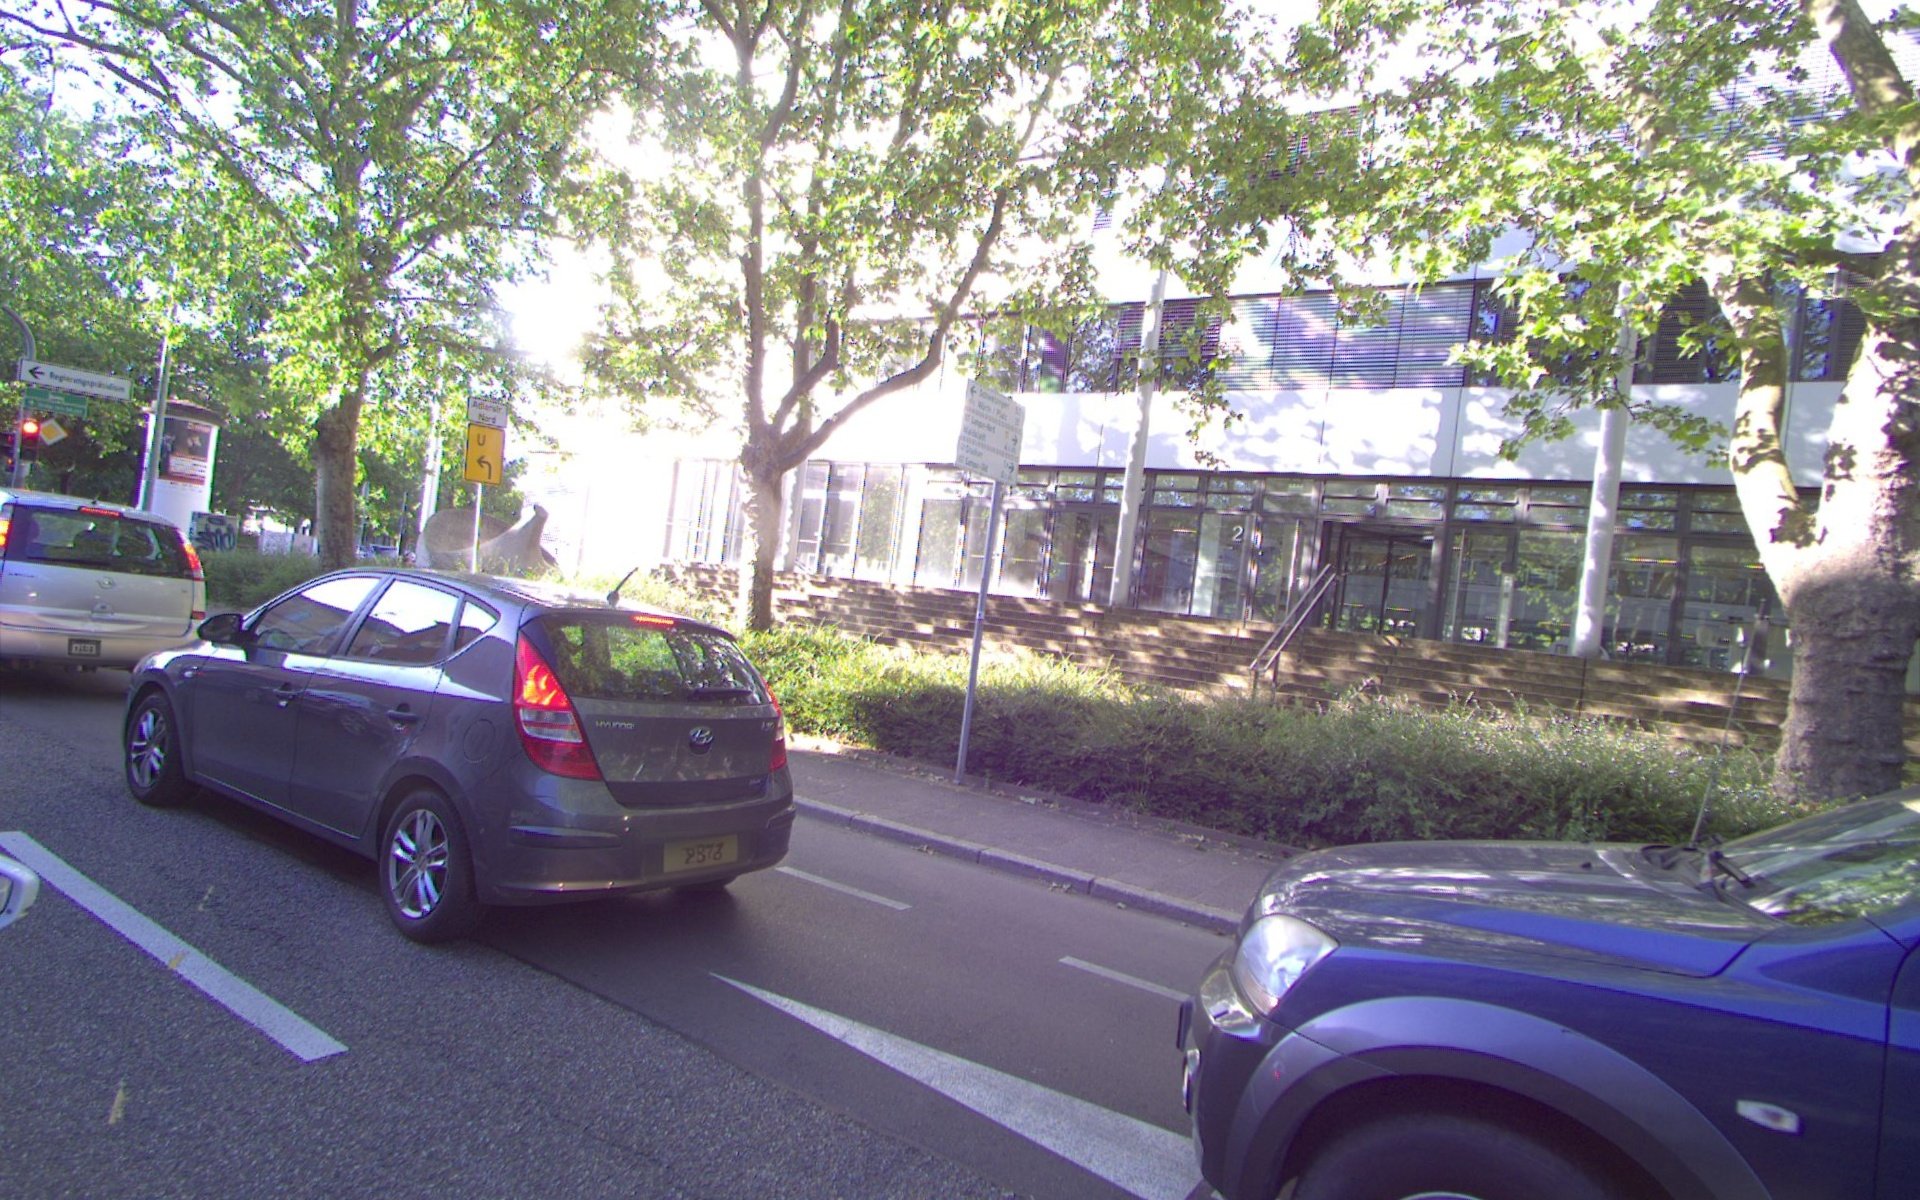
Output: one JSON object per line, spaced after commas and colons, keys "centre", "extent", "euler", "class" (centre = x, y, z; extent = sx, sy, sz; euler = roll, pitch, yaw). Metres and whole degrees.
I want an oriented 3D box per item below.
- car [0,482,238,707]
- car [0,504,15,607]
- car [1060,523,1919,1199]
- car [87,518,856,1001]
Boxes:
{"centre": [-8.402, -0.161, 9.054], "extent": [3.797, 1.620, 1.705], "euler": [7, -3, 34], "class": "car"}
{"centre": [-14.001, -0.729, 12.604], "extent": [4.592, 1.481, 1.917], "euler": [7, -2, 32], "class": "car"}
{"centre": [2.585, 1.023, 1.913], "extent": [4.313, 1.790, 1.784], "euler": [7, -3, 33], "class": "car"}
{"centre": [-2.683, 0.572, 5.284], "extent": [3.910, 1.498, 1.648], "euler": [7, -3, 32], "class": "car"}
